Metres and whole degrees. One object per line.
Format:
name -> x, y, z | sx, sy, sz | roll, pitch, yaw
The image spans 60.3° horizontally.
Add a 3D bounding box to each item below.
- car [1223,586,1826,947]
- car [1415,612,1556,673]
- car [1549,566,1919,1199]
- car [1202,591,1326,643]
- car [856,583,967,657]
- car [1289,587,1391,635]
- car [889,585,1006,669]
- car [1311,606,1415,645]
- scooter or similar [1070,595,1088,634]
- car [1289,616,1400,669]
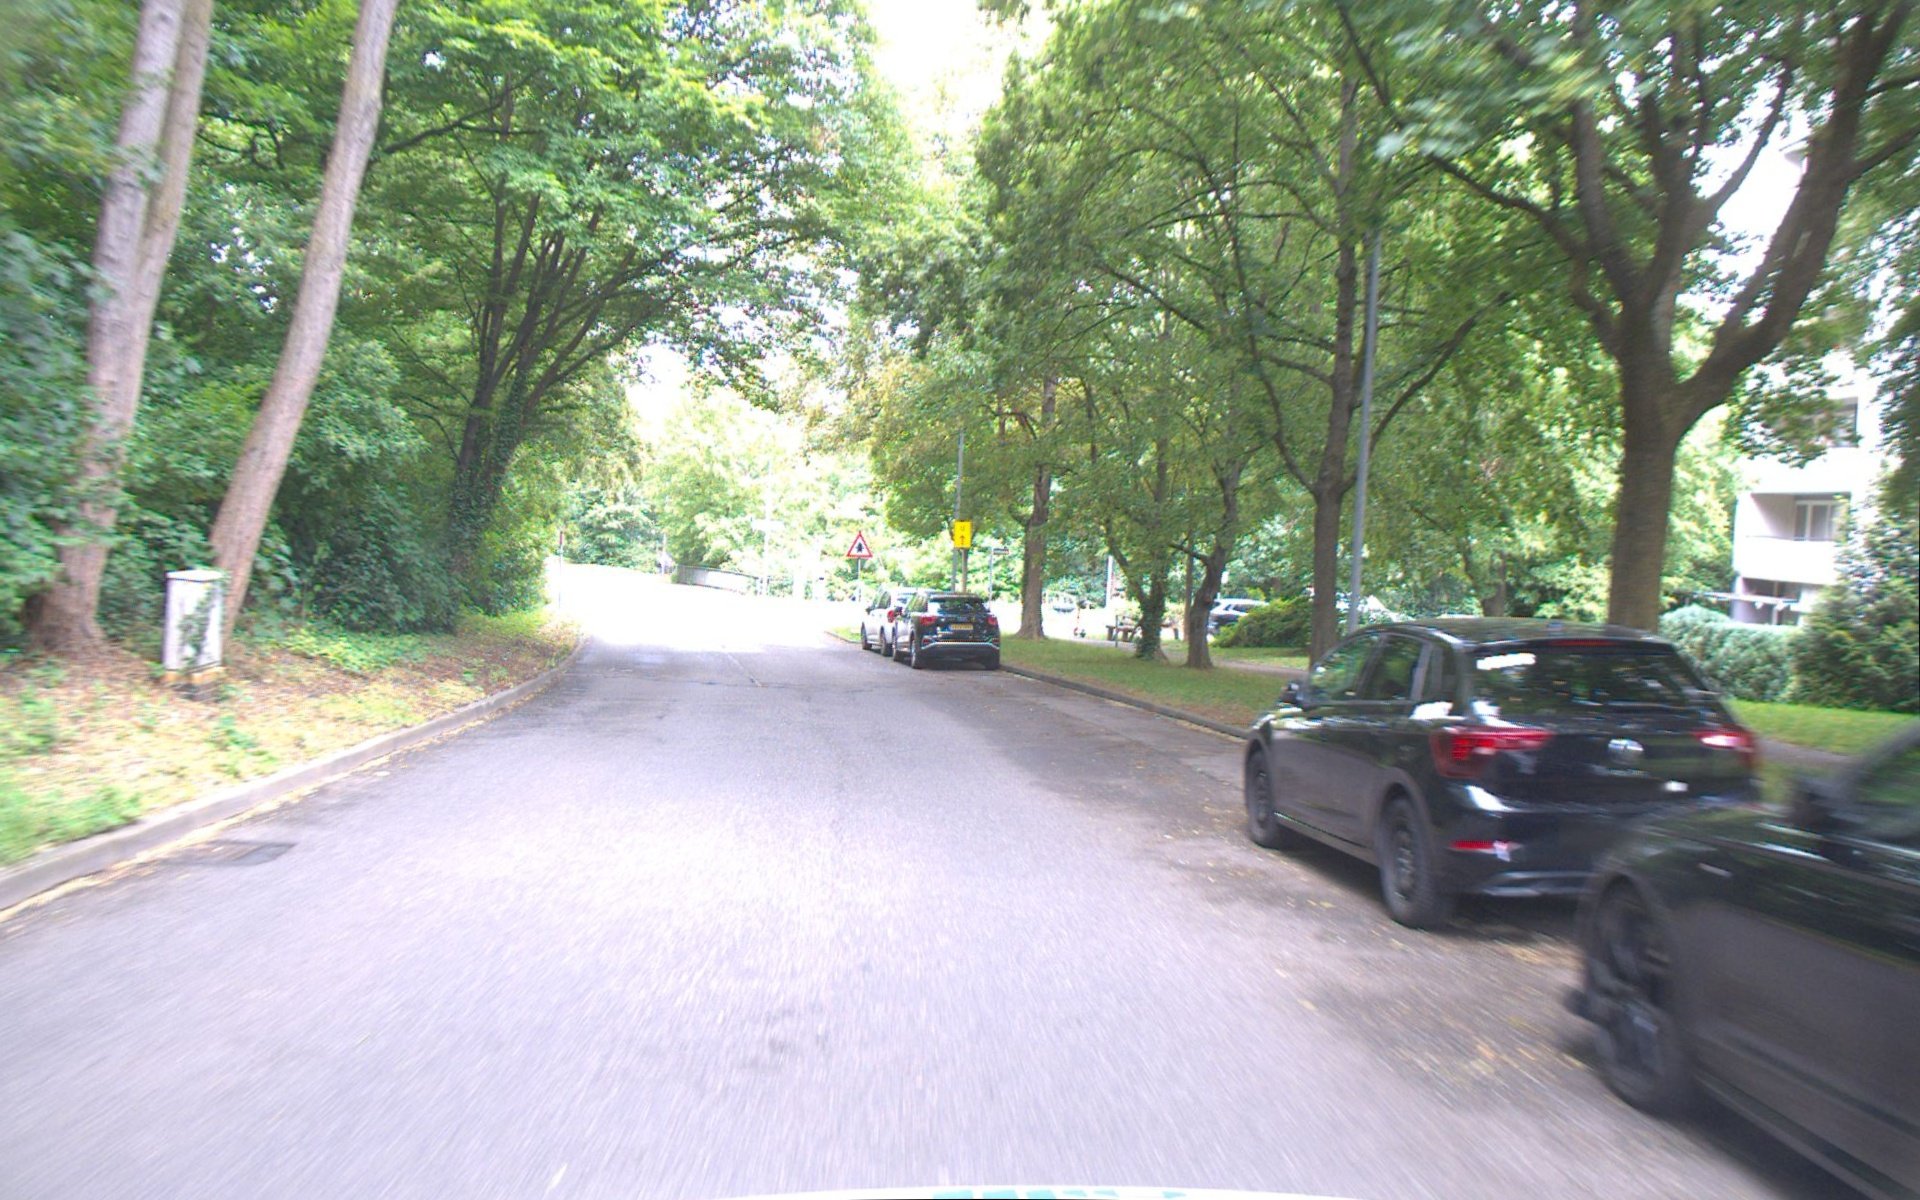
car -> 2.765, 0.715, 9.091 | 1.649, 1.490, 3.894 | 2, 1, -5
car -> 18.511, 1.492, 58.386 | 4.309, 1.880, 1.831 | 3, 1, -3
car -> 3.008, 0.787, 3.378 | 1.874, 1.640, 4.734 | 2, 1, 0
car -> 11.250, 0.624, 61.307 | 4.139, 1.715, 1.797 | 2, 0, -5
car -> -1.195, 0.434, 38.644 | 1.744, 1.549, 3.766 | 2, 1, -15
car -> 17.616, 0.498, 76.728 | 4.126, 2.048, 1.997 | 2, 0, -7
car -> -0.332, 0.508, 34.324 | 1.741, 1.549, 4.174 | 2, 1, -10
car -> 17.955, 1.122, 73.747 | 4.126, 1.525, 1.797 | 2, 0, -7
scooter or similar -> 4.045, 0.490, 56.273 | 0.277, 1.309, 1.106 | 3, 0, -9
car -> 13.521, 1.490, 58.331 | 3.444, 1.597, 1.833 | 3, 1, 1
